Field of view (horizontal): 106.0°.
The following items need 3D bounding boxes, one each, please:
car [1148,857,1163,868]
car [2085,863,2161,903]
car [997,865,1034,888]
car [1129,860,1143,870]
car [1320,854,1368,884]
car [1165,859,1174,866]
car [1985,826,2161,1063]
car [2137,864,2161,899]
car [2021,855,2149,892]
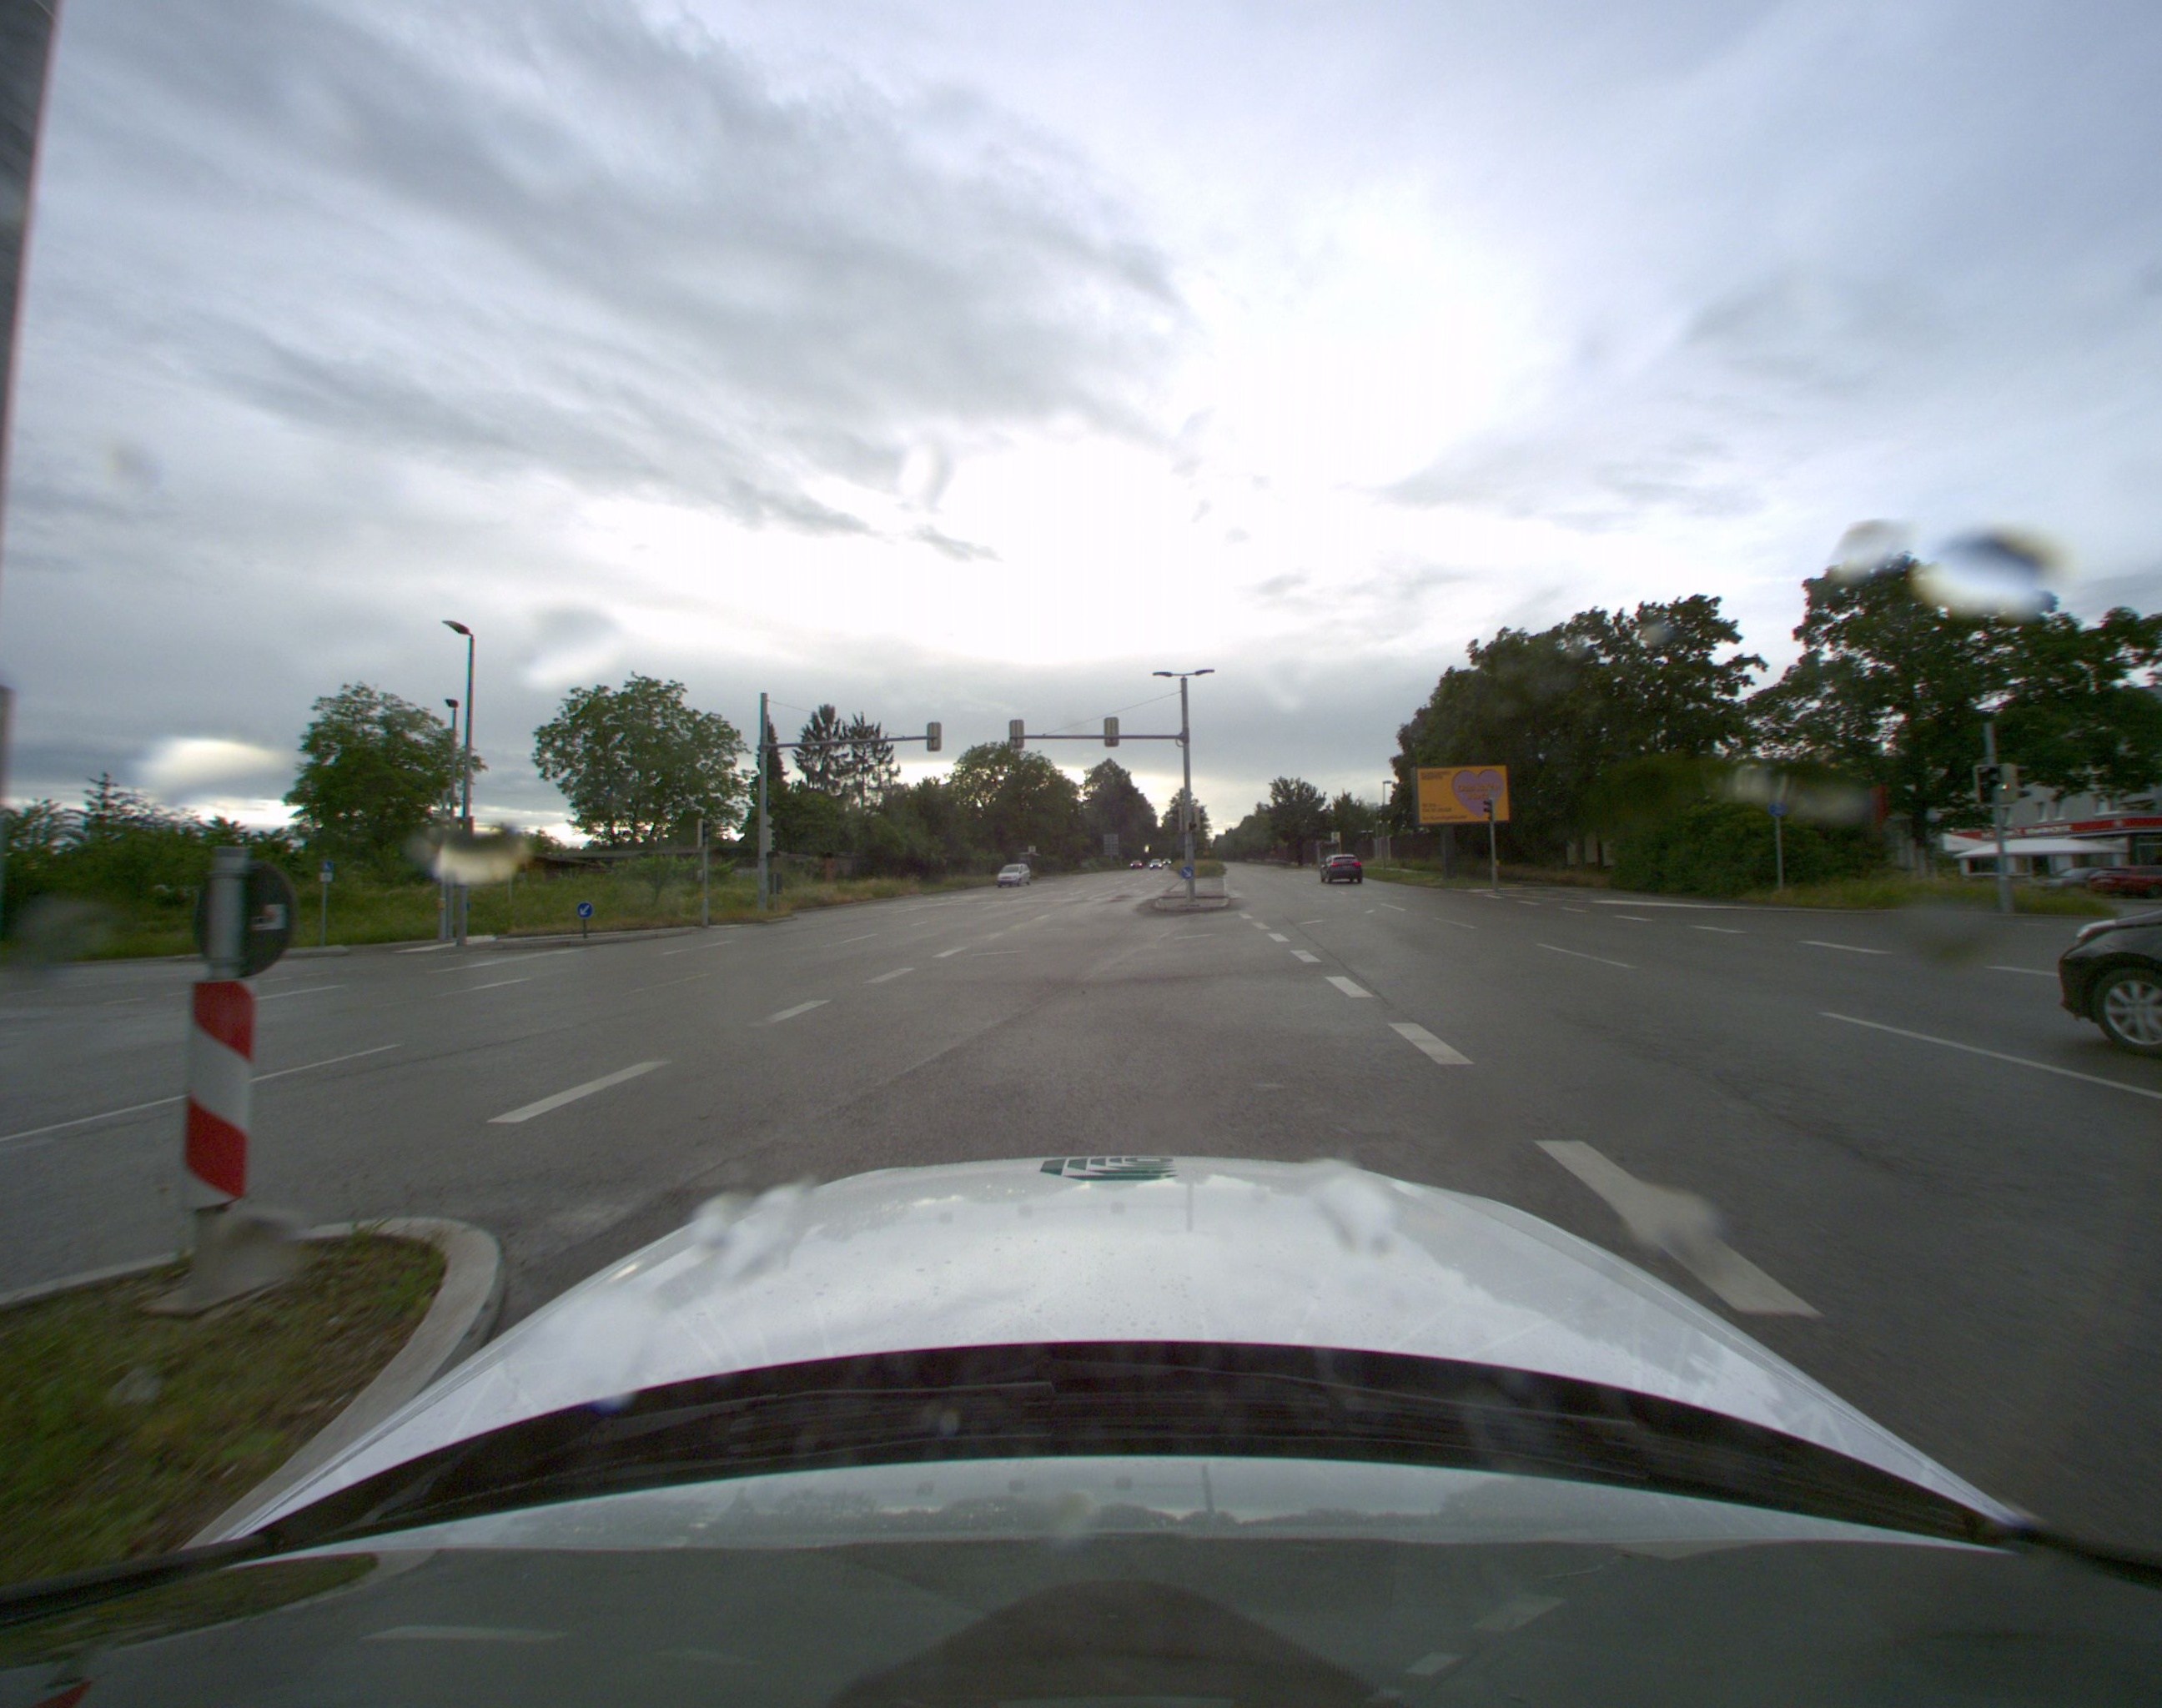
[{"bbox_3d":[10.857,1.280,118.099,1.883,1.534,4.499,-1,-1,8],"label":"car"},{"bbox_3d":[45.762,1.212,34.733,3.852,1.564,1.518,-1,-1,2],"label":"car"},{"bbox_3d":[-4.818,1.630,60.815,1.758,1.596,4.499,-1,-1,8],"label":"car"},{"bbox_3d":[9.033,1.847,133.475,1.883,1.596,4.499,-1,-1,8],"label":"car"},{"bbox_3d":[13.757,0.778,42.857,1.735,1.470,4.176,-1,-1,8],"label":"car"},{"bbox_3d":[20.931,1.987,192.648,1.883,1.596,4.499,-1,-1,8],"label":"car"},{"bbox_3d":[7.372,0.501,3.748,1.734,1.470,4.651,-1,-3,9],"label":"car"},{"bbox_3d":[45.766,1.091,33.006,3.852,1.398,1.518,-1,-1,2],"label":"car"},{"bbox_3d":[45.762,0.880,37.159,3.852,1.564,1.518,-1,-1,2],"label":"car"}]
